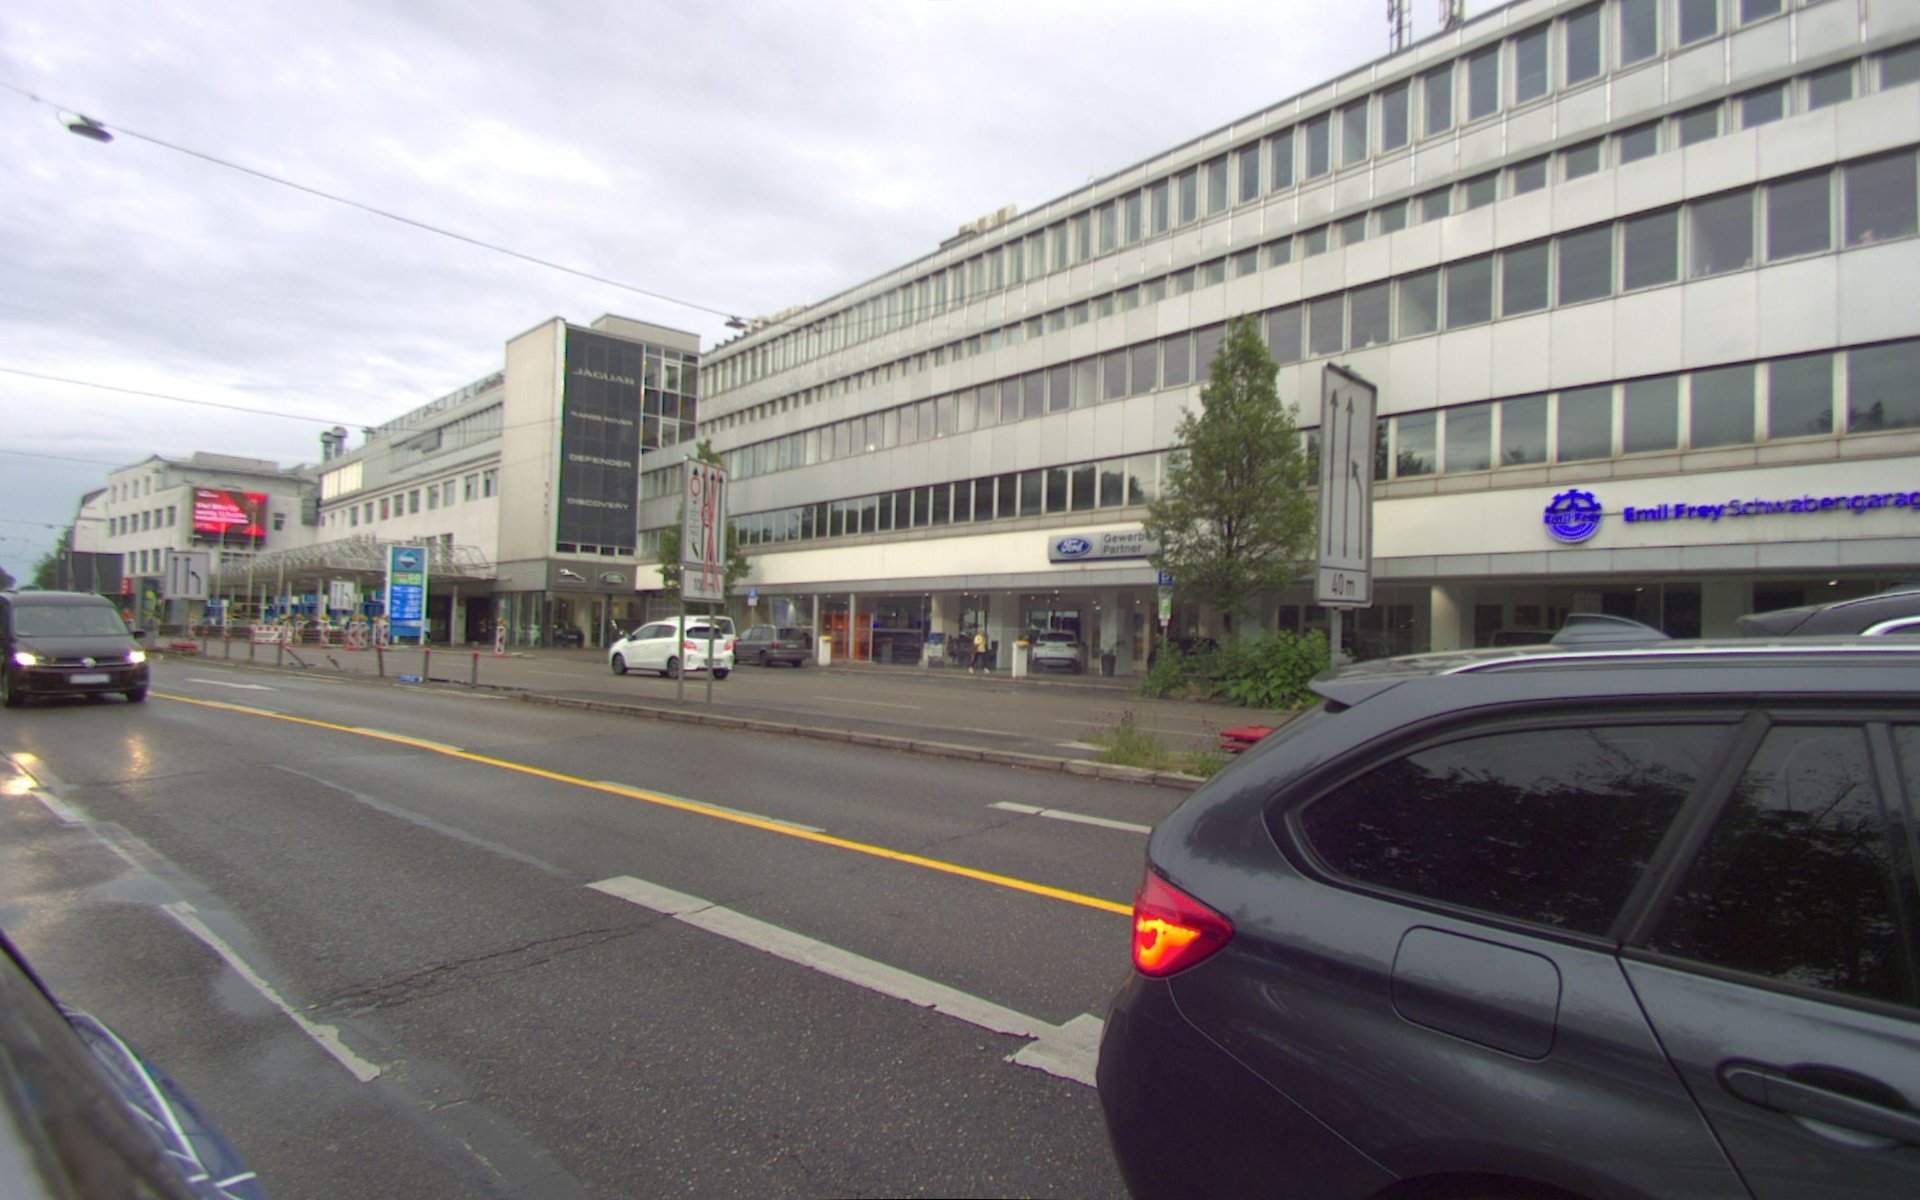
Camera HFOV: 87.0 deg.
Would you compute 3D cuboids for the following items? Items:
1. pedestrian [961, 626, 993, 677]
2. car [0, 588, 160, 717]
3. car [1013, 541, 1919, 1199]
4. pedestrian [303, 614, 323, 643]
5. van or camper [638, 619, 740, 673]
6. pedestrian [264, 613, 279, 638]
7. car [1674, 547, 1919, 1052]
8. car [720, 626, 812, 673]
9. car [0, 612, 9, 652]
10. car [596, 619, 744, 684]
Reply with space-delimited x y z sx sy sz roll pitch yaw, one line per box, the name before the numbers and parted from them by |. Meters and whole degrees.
pedestrian | 0.618 1.864 36.623 0.750 1.788 0.865 -1 0 -42
car | -14.685 0.753 16.485 4.429 1.828 1.880 -1 0 42
car | 2.343 0.691 1.073 4.476 1.469 1.757 -1 -3 42
pedestrian | -42.364 1.848 66.258 0.942 1.828 0.882 -1 0 45
van or camper | -10.344 1.710 38.459 1.911 1.938 4.692 2 -2 -40
pedestrian | -51.244 1.856 75.354 0.881 1.828 0.943 -1 0 -35
car | 4.909 0.638 2.918 4.445 1.668 1.789 -1 0 44
car | -8.290 2.067 43.146 1.895 1.829 4.169 -1 0 -44
car | -41.550 1.343 42.729 3.948 1.629 1.747 -1 0 43
car | -7.690 1.370 26.739 3.757 1.544 1.784 -1 -6 37
